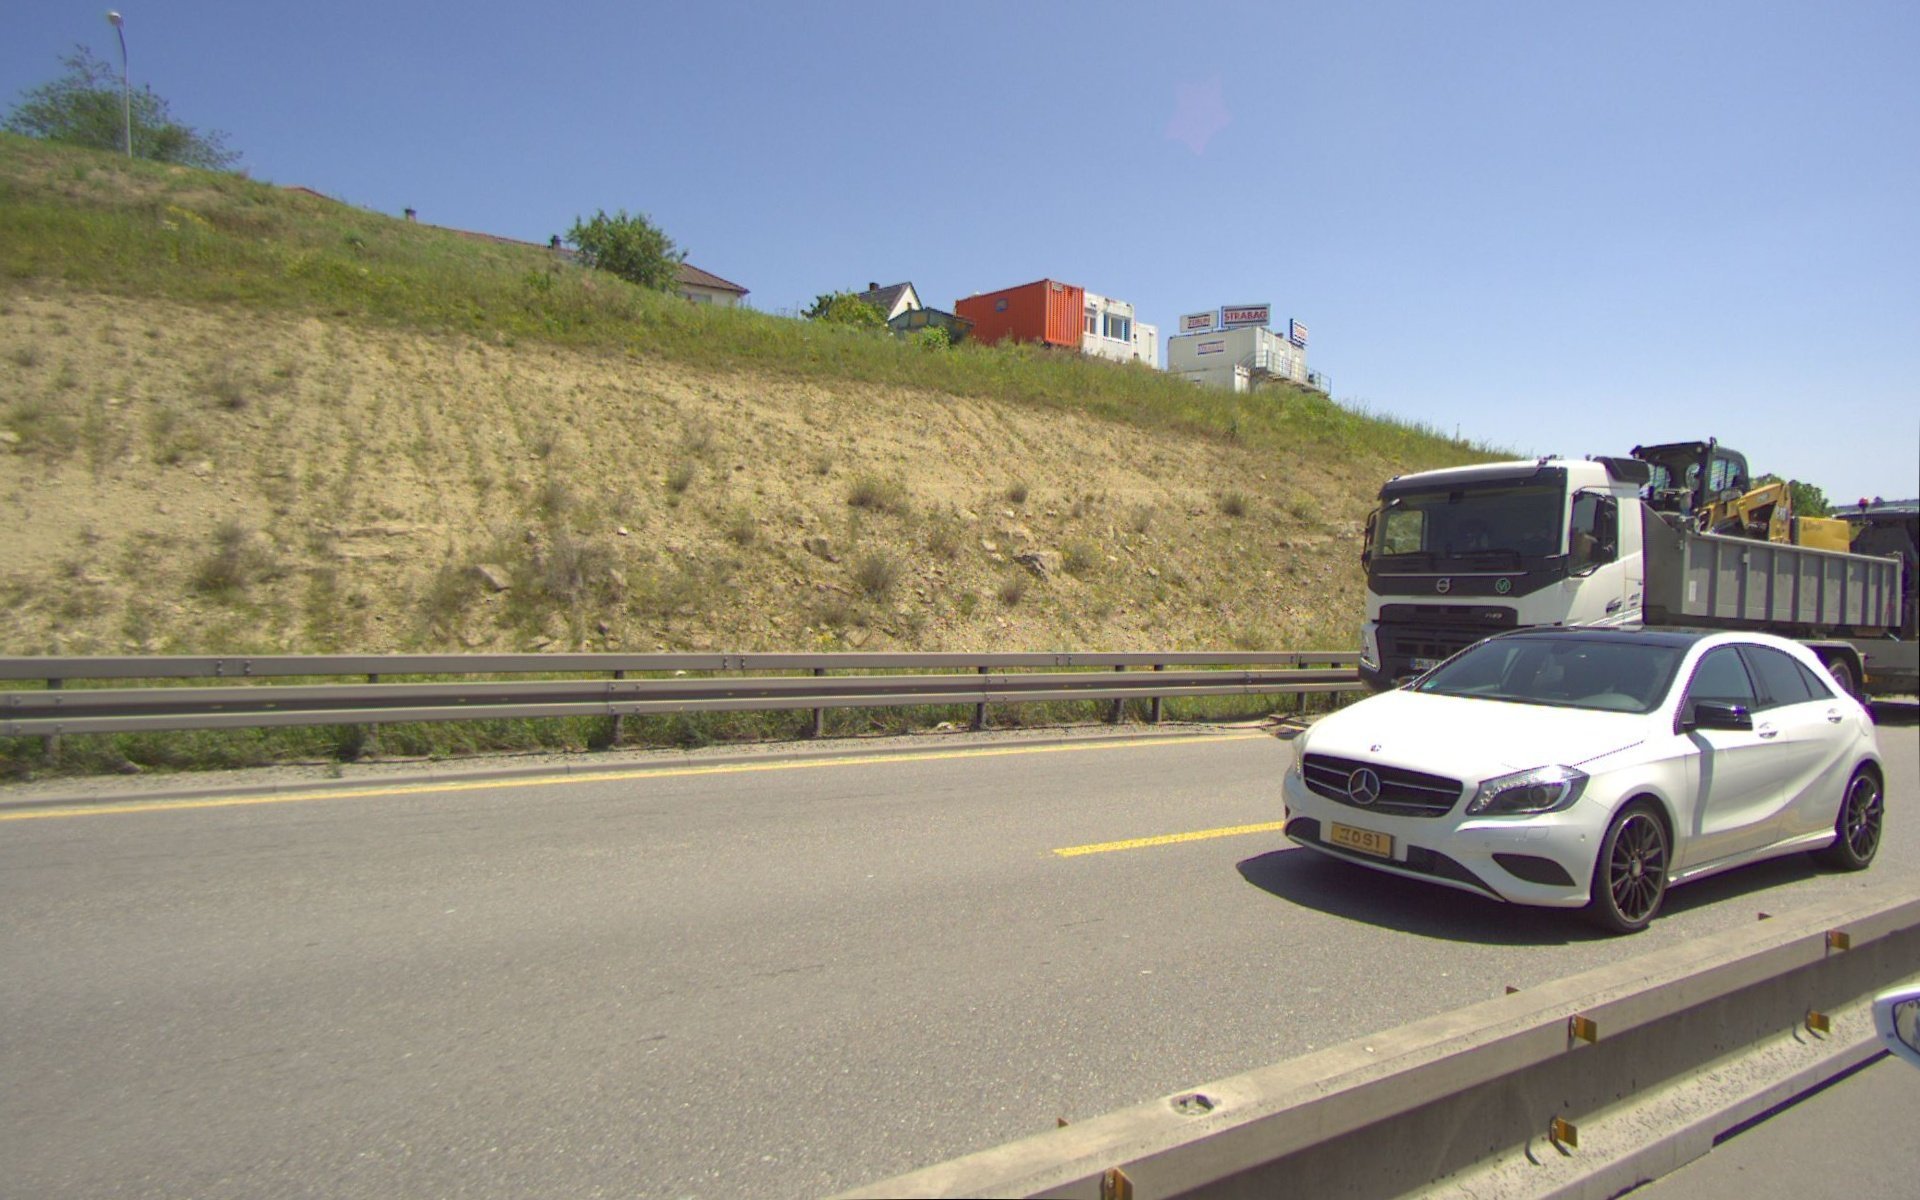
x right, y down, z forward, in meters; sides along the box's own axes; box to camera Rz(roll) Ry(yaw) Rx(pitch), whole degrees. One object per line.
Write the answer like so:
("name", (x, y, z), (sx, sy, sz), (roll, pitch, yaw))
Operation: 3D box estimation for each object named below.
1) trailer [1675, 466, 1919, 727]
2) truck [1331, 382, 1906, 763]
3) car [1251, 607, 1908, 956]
("trailer", (16.242, 0.043, 17.601), (8.971, 3.685, 2.574), (1, 0, -30))
("truck", (9.139, -0.179, 13.416), (9.223, 3.772, 2.574), (1, 0, -30))
("car", (3.813, 0.810, 5.999), (4.075, 1.449, 1.676), (1, 0, -31))
